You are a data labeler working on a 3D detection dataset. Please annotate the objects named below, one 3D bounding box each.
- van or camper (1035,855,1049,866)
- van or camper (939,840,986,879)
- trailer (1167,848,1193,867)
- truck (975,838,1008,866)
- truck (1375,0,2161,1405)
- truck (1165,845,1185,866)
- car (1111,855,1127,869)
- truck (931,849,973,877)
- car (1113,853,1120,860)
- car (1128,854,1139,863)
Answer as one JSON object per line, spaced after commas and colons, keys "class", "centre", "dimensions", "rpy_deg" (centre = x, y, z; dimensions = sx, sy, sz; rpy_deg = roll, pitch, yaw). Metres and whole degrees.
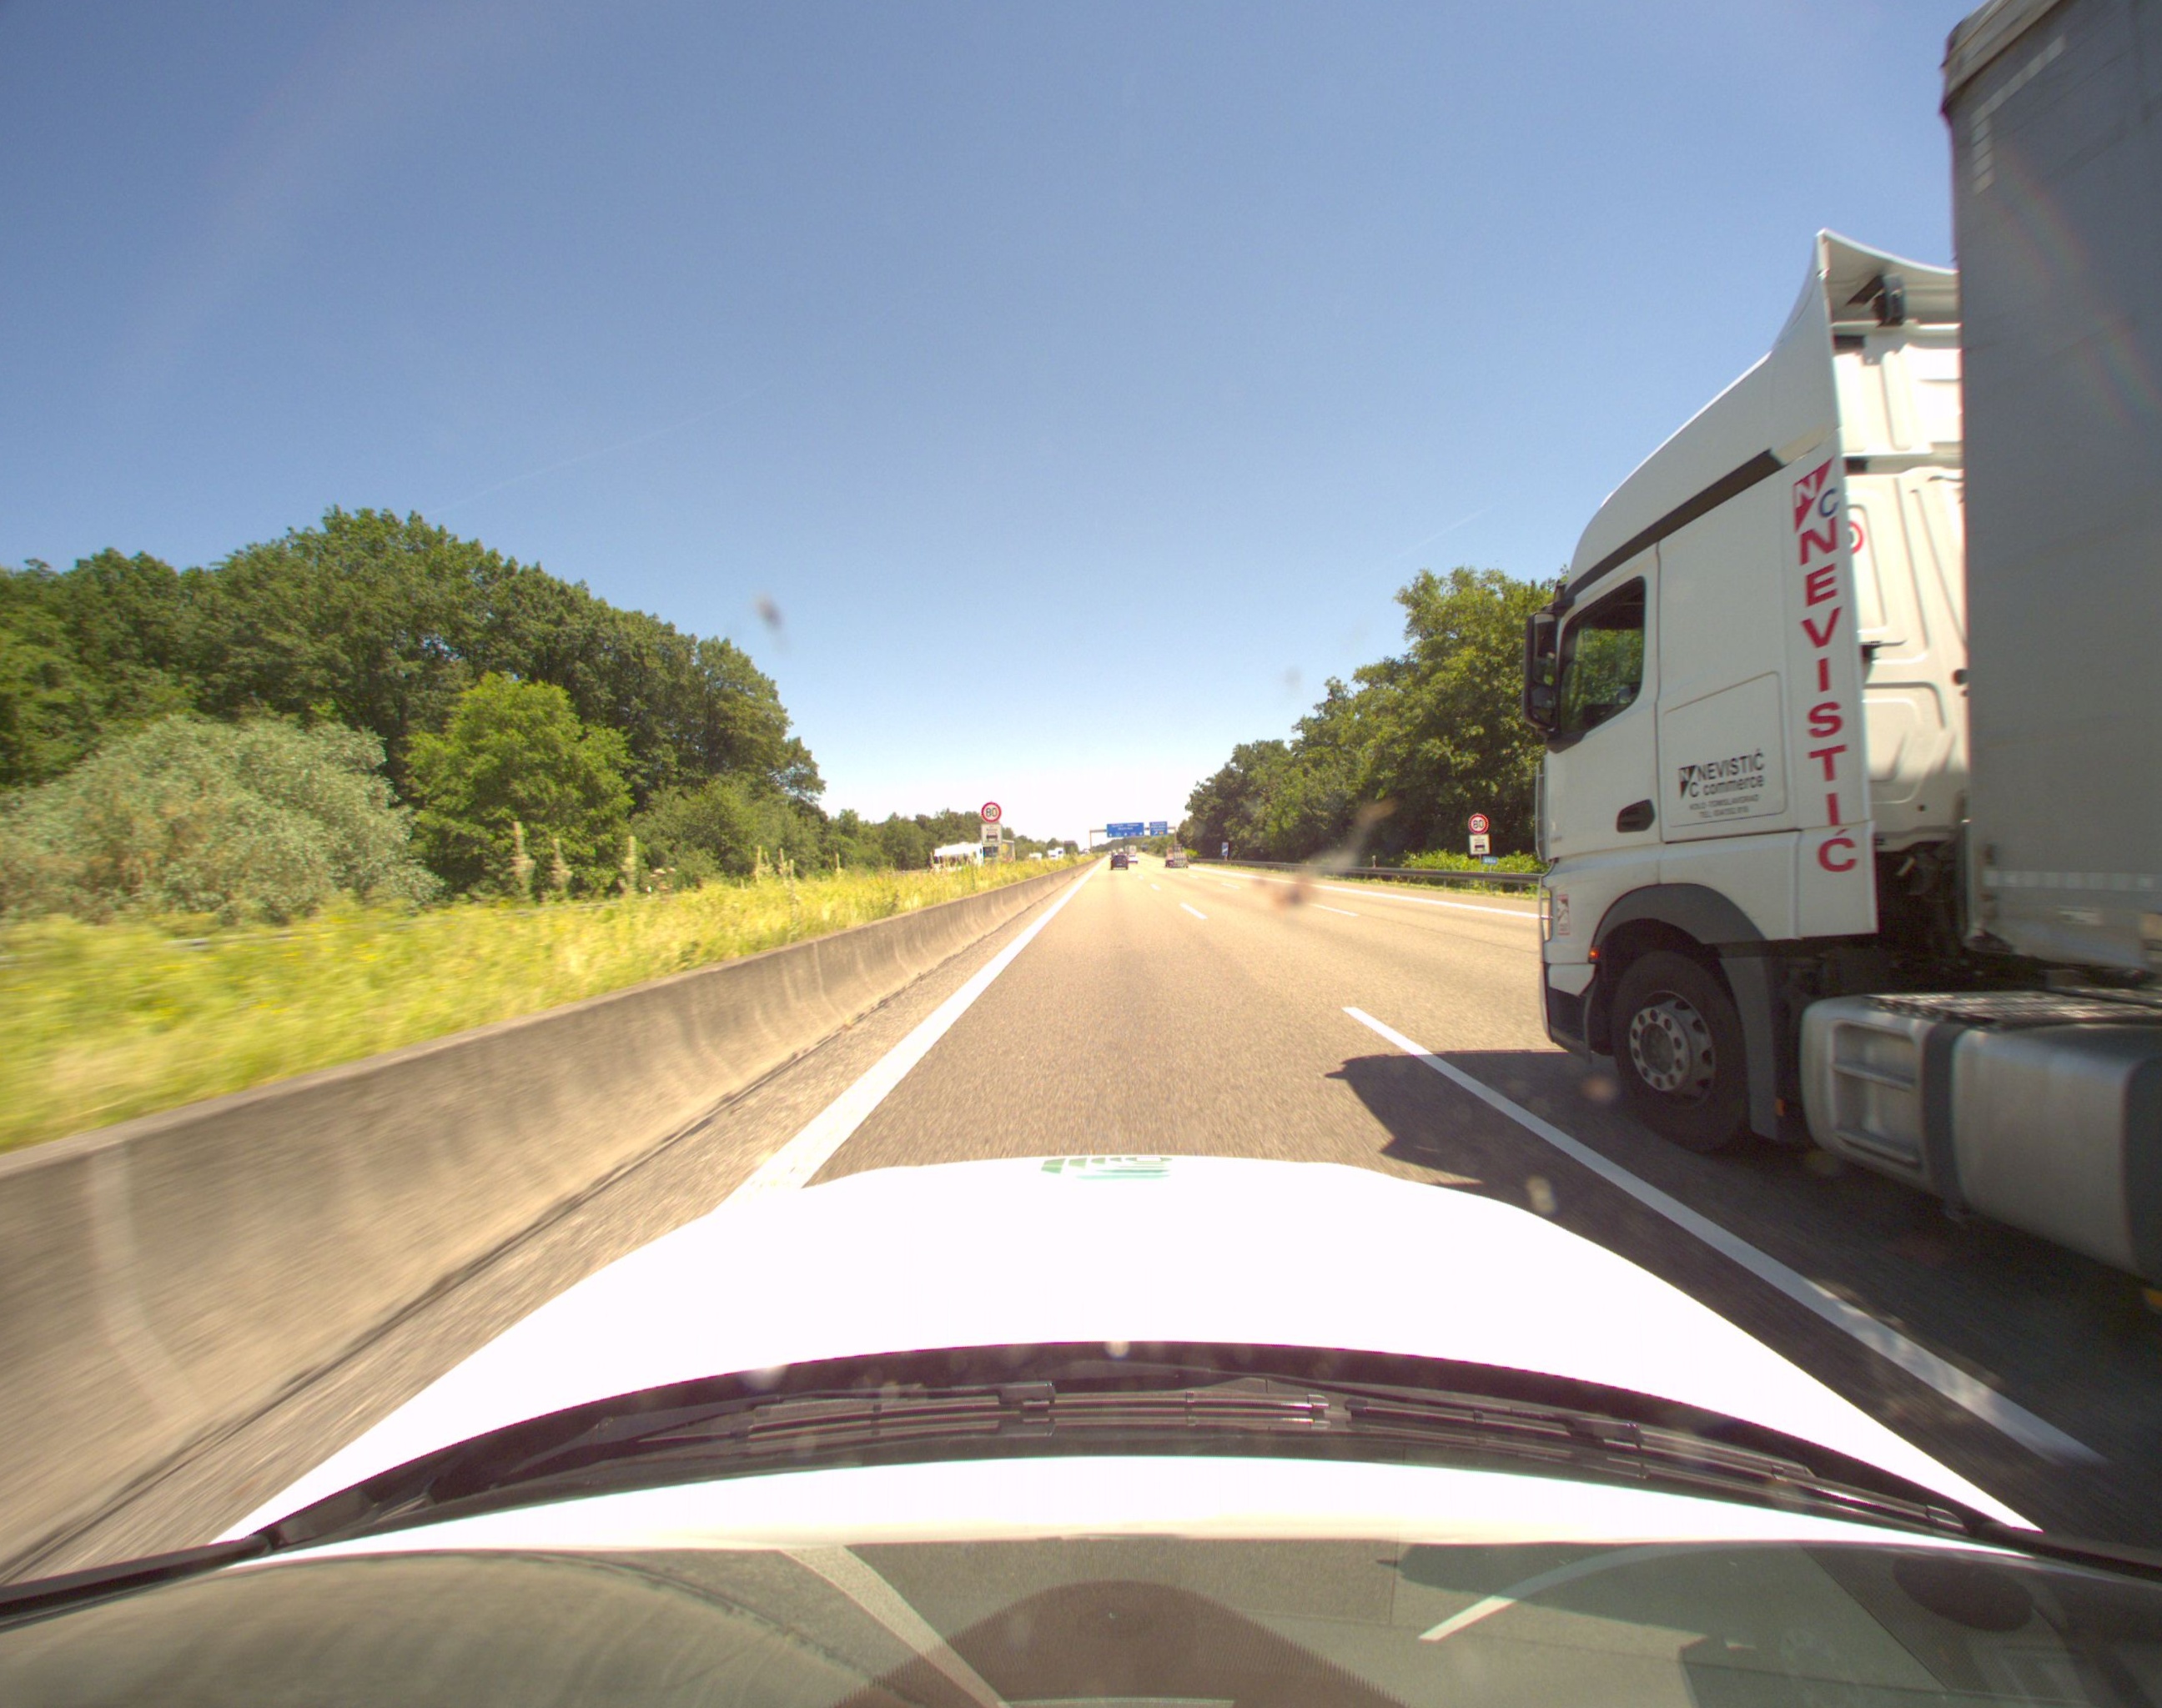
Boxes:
{"class": "van or camper", "centre": [-7.401, 1.237, 155.027], "dimensions": [2.214, 2.014, 5.888], "rpy_deg": [-1, 0, 1]}
{"class": "van or camper", "centre": [-10.052, 0.443, 69.913], "dimensions": [2.497, 3.155, 7.539], "rpy_deg": [-1, 0, 3]}
{"class": "trailer", "centre": [11.413, 0.376, 94.425], "dimensions": [2.412, 2.013, 6.034], "rpy_deg": [-1, 0, 1]}
{"class": "truck", "centre": [-10.134, -0.180, 92.840], "dimensions": [2.597, 3.008, 6.974], "rpy_deg": [-2, 0, 2]}
{"class": "truck", "centre": [4.036, -0.685, 4.312], "dimensions": [2.690, 4.094, 6.455], "rpy_deg": [-1, -1, 1]}
{"class": "truck", "centre": [11.494, 0.175, 99.789], "dimensions": [1.987, 2.373, 4.645], "rpy_deg": [-1, 0, 1]}
{"class": "car", "centre": [4.250, 0.894, 90.779], "dimensions": [1.654, 1.549, 3.783], "rpy_deg": [-1, -1, 0]}
{"class": "truck", "centre": [-14.618, 0.961, 93.050], "dimensions": [2.677, 2.942, 10.491], "rpy_deg": [-2, 0, 2]}
{"class": "car", "centre": [10.941, 0.674, 248.508], "dimensions": [1.986, 2.013, 4.001], "rpy_deg": [-3, -1, 1]}
{"class": "car", "centre": [9.068, 0.731, 140.780], "dimensions": [1.733, 1.486, 4.001], "rpy_deg": [-1, 0, 2]}
